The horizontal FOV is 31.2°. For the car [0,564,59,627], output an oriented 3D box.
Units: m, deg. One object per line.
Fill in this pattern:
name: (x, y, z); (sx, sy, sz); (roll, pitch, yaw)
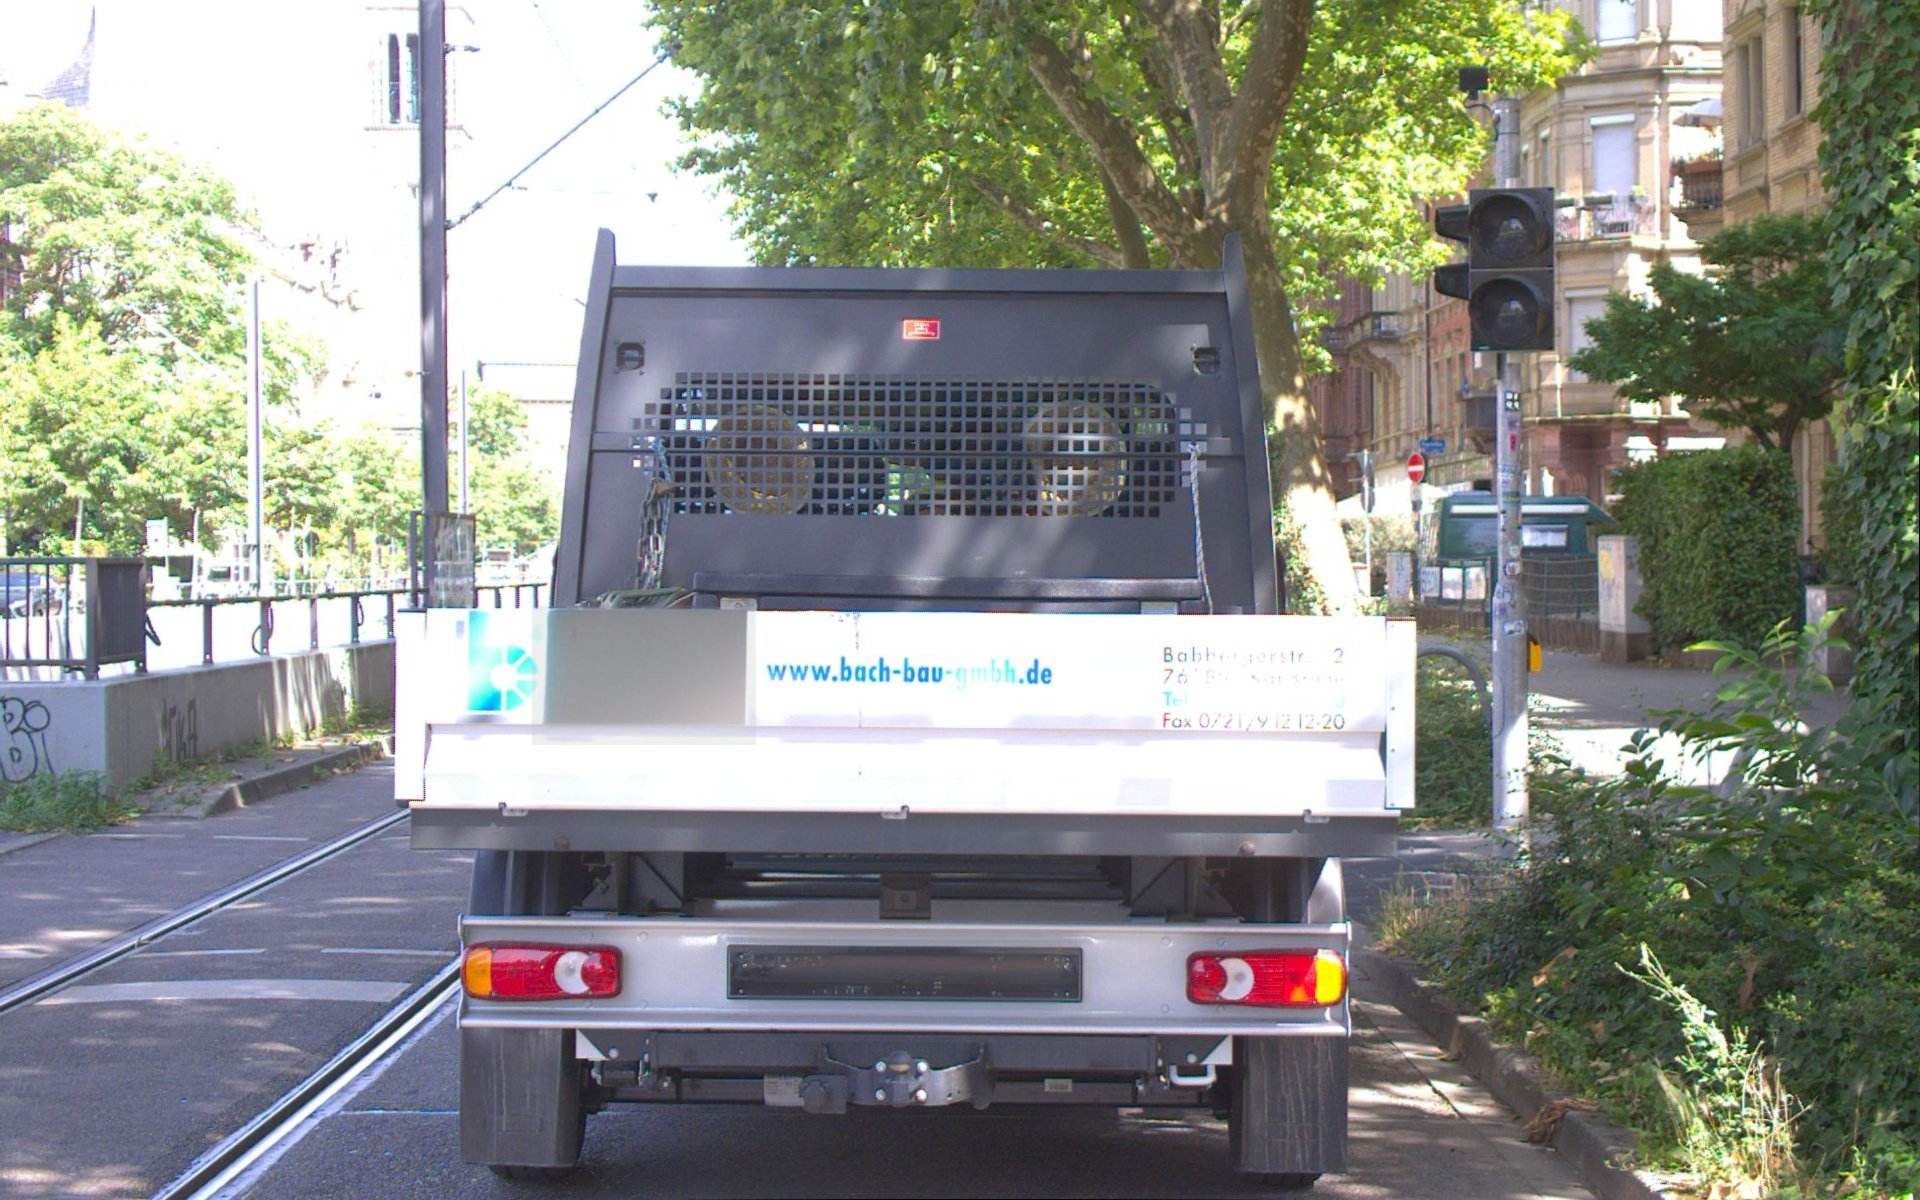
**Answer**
car: (-23.369, -0.123, 83.949); (1.770, 1.493, 4.000); (0, 1, -2)

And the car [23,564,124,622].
car: (-23.625, -0.212, 91.786); (1.770, 1.493, 4.000); (0, 1, -2)

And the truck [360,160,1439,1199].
truck: (-0.111, 0.258, 9.047); (2.138, 2.311, 4.401); (0, 1, 0)
